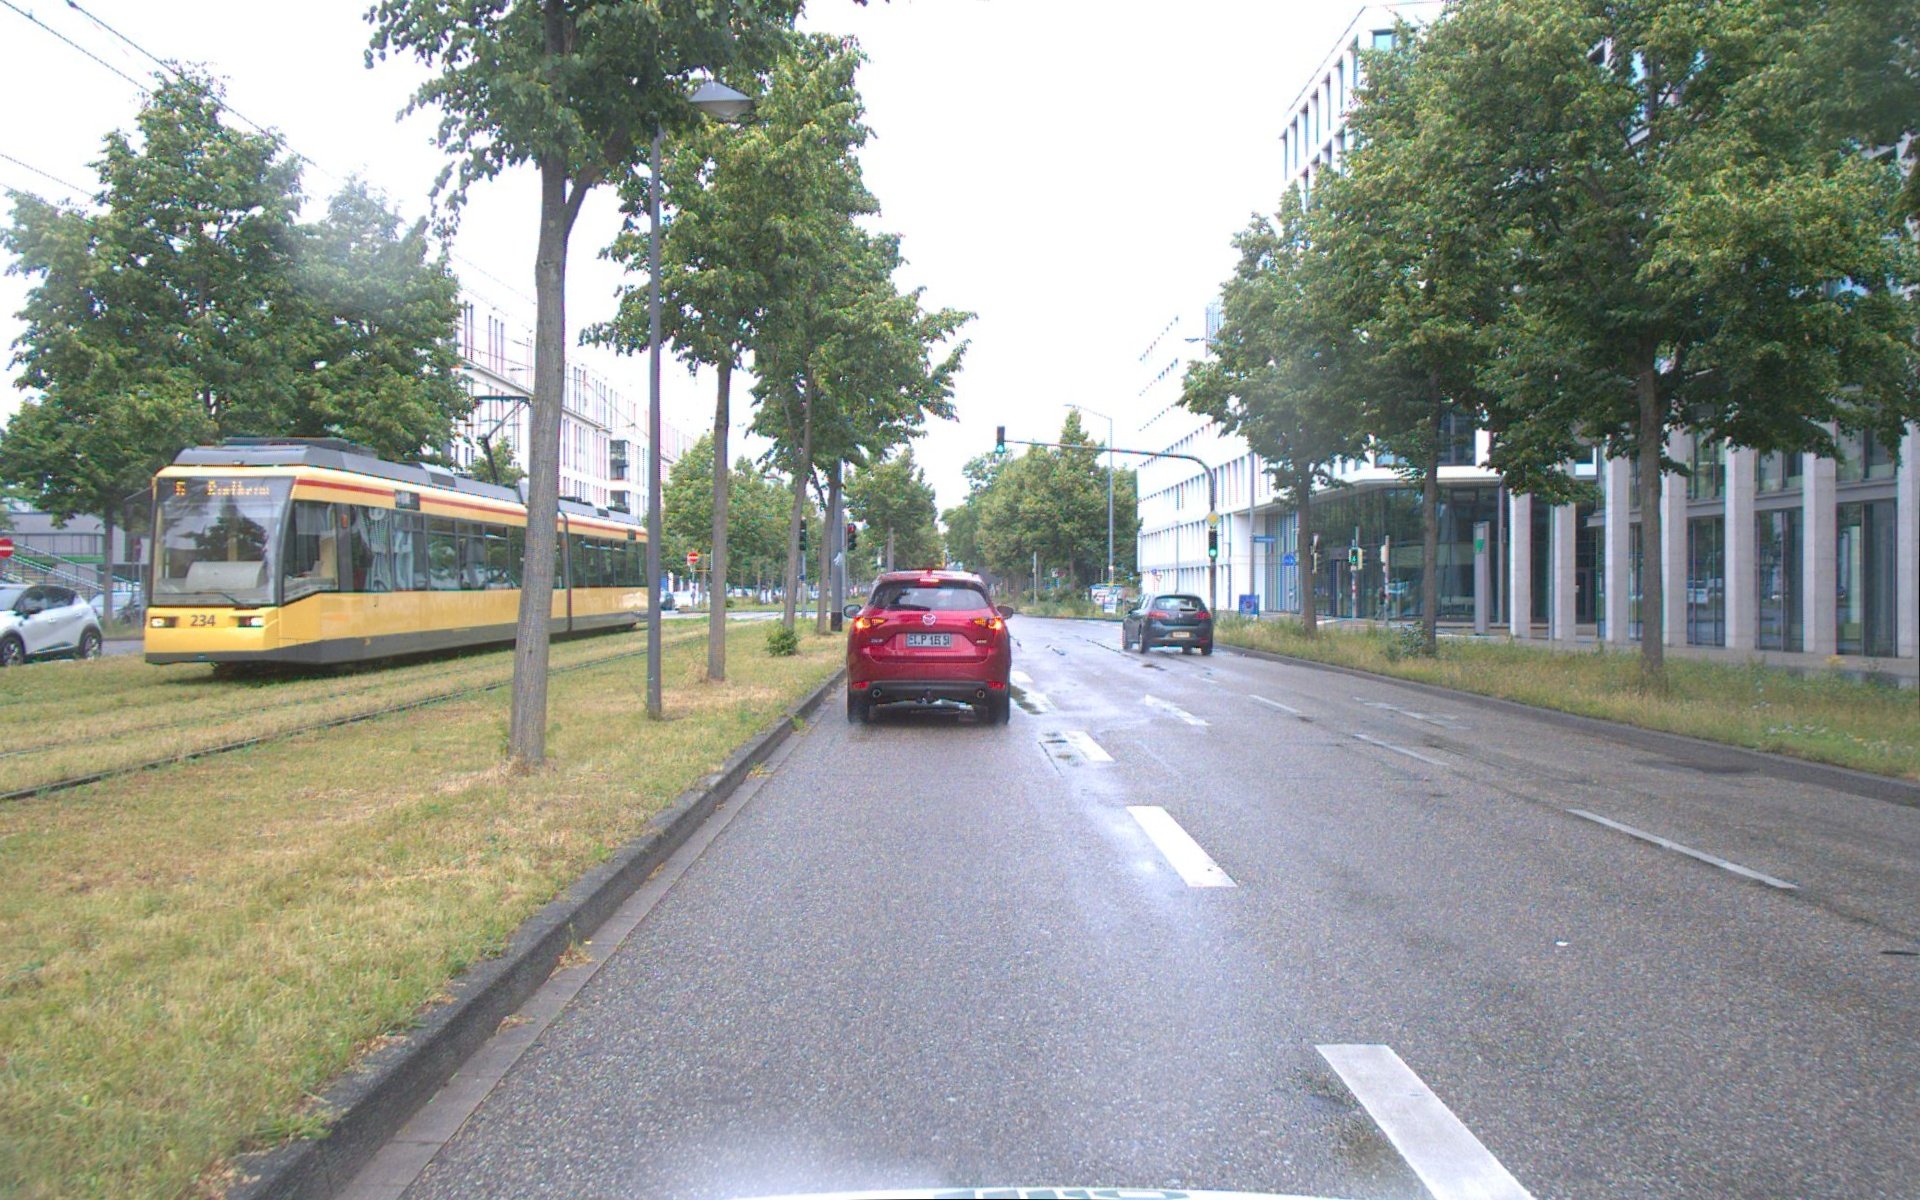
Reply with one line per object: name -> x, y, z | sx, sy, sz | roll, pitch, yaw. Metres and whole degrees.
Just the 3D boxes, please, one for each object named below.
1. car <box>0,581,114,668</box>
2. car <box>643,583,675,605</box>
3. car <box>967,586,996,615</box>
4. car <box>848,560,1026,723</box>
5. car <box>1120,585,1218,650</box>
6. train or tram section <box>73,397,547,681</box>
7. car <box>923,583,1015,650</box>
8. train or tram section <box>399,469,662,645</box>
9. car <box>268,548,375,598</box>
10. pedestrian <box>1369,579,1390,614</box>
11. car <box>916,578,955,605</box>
car -> -16.574, 0.382, 28.798 | 1.675, 1.429, 3.999 | 0, 1, -1
car -> -23.962, -0.493, 131.769 | 1.953, 1.646, 3.998 | 0, 1, -3
car -> 1.550, 0.009, 118.675 | 1.953, 2.049, 3.999 | 0, 1, -1
car -> -0.284, 0.418, 19.335 | 1.860, 1.706, 3.999 | 0, 0, -1
car -> 5.002, 0.379, 40.049 | 1.709, 1.490, 3.779 | 0, 0, -3
train or tram section -> -10.261, -0.872, 28.551 | 3.065, 3.723, 13.404 | 0, 1, -1
car -> 0.263, 0.350, 38.758 | 1.918, 1.490, 3.783 | 0, 0, 4
train or tram section -> -10.491, -0.990, 42.714 | 3.065, 3.722, 15.061 | 0, 1, -1
car -> -20.132, -0.854, 52.327 | 1.846, 1.485, 3.999 | -1, 1, -1
pedestrian -> 20.694, -0.178, 81.567 | 0.769, 1.737, 0.676 | 1, 0, 38
car -> -1.420, -0.498, 95.085 | 1.929, 1.462, 4.548 | 1, 1, -5
